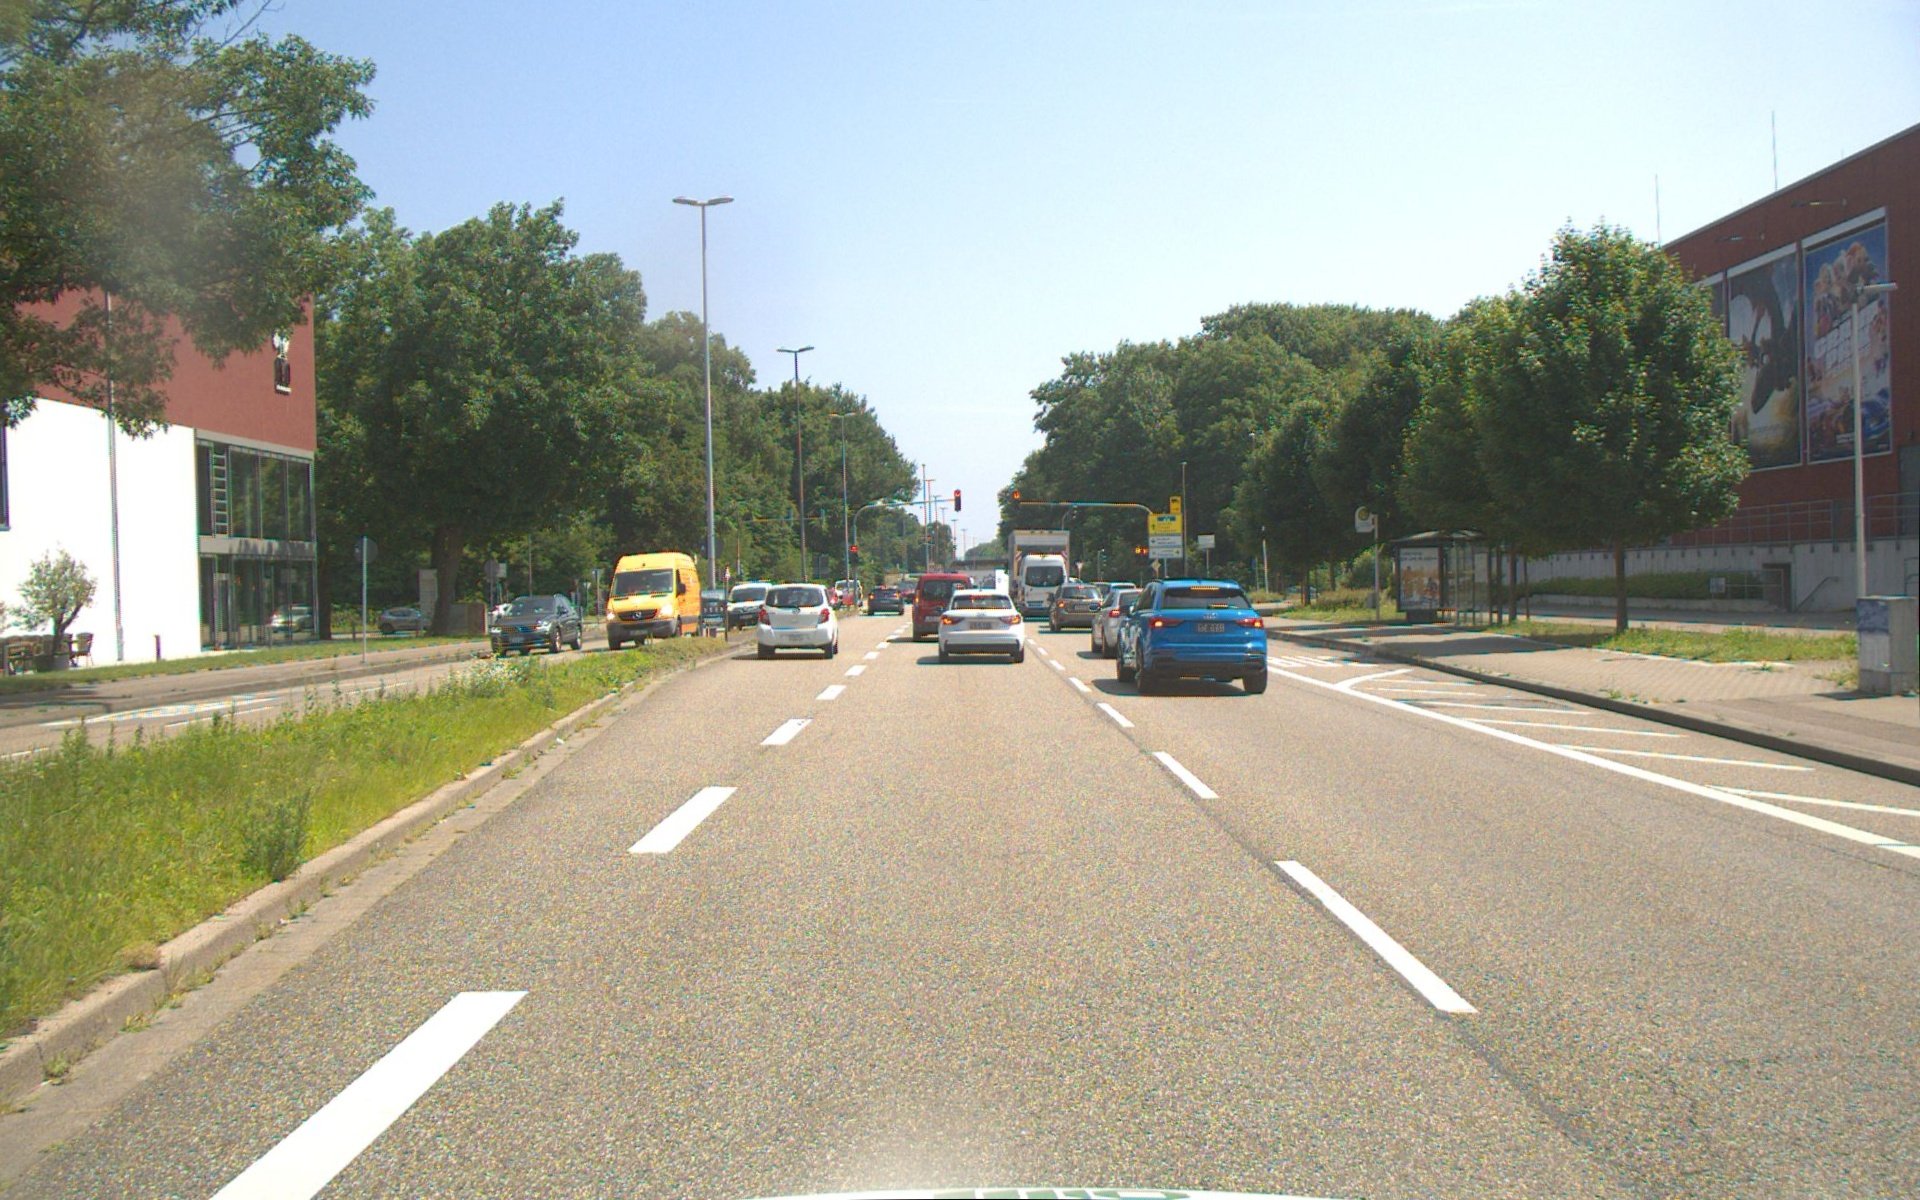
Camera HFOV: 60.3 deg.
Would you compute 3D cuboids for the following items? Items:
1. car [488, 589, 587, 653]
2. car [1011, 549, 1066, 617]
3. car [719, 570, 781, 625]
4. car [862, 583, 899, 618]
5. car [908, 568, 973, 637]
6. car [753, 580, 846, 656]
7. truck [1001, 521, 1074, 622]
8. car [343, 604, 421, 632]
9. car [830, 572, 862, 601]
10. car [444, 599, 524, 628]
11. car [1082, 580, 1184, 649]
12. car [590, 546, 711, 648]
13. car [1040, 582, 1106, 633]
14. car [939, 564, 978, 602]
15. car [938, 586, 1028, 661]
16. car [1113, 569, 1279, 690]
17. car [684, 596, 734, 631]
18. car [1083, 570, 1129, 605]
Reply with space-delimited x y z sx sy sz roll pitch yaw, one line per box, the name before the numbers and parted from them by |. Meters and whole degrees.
car | -12.114 0.558 47.690 1.681 1.631 4.213 -4 1 0
car | 3.224 -0.684 68.533 1.989 2.690 4.845 -1 0 0
car | -8.283 -0.124 65.438 1.815 1.938 4.425 -4 1 -1
car | -3.982 0.014 83.099 1.738 1.670 4.036 -1 0 -1
car | -0.553 0.056 45.300 1.677 1.779 4.091 -1 0 -1
car | -3.408 0.345 35.716 1.677 1.519 4.091 -1 0 -1
truck | 3.620 -1.321 79.932 3.025 4.511 11.580 0 0 0
car | -35.446 1.092 101.469 4.292 1.711 1.806 0 -1 -11
car | -8.467 -1.013 123.136 1.953 1.979 4.907 -4 1 -1
car | -28.226 0.816 98.200 4.288 1.711 1.807 0 0 -8
car | 3.661 0.275 35.537 1.677 1.386 4.091 0 0 -1
car | -8.758 -0.113 47.446 2.219 2.612 6.057 -3 1 0
car | 3.561 0.204 52.726 1.677 1.504 4.091 2 0 -1
car | -0.087 -0.753 74.654 1.677 1.660 4.091 -1 0 -1
car | 0.423 0.429 33.664 1.677 1.410 4.091 -1 0 -1
car | 3.423 0.382 24.769 1.800 1.623 4.400 -1 1 -1
car | -12.094 0.638 79.856 1.714 1.476 4.133 -4 1 0
car | 6.699 -0.575 76.365 1.677 1.573 4.091 -1 0 -1
